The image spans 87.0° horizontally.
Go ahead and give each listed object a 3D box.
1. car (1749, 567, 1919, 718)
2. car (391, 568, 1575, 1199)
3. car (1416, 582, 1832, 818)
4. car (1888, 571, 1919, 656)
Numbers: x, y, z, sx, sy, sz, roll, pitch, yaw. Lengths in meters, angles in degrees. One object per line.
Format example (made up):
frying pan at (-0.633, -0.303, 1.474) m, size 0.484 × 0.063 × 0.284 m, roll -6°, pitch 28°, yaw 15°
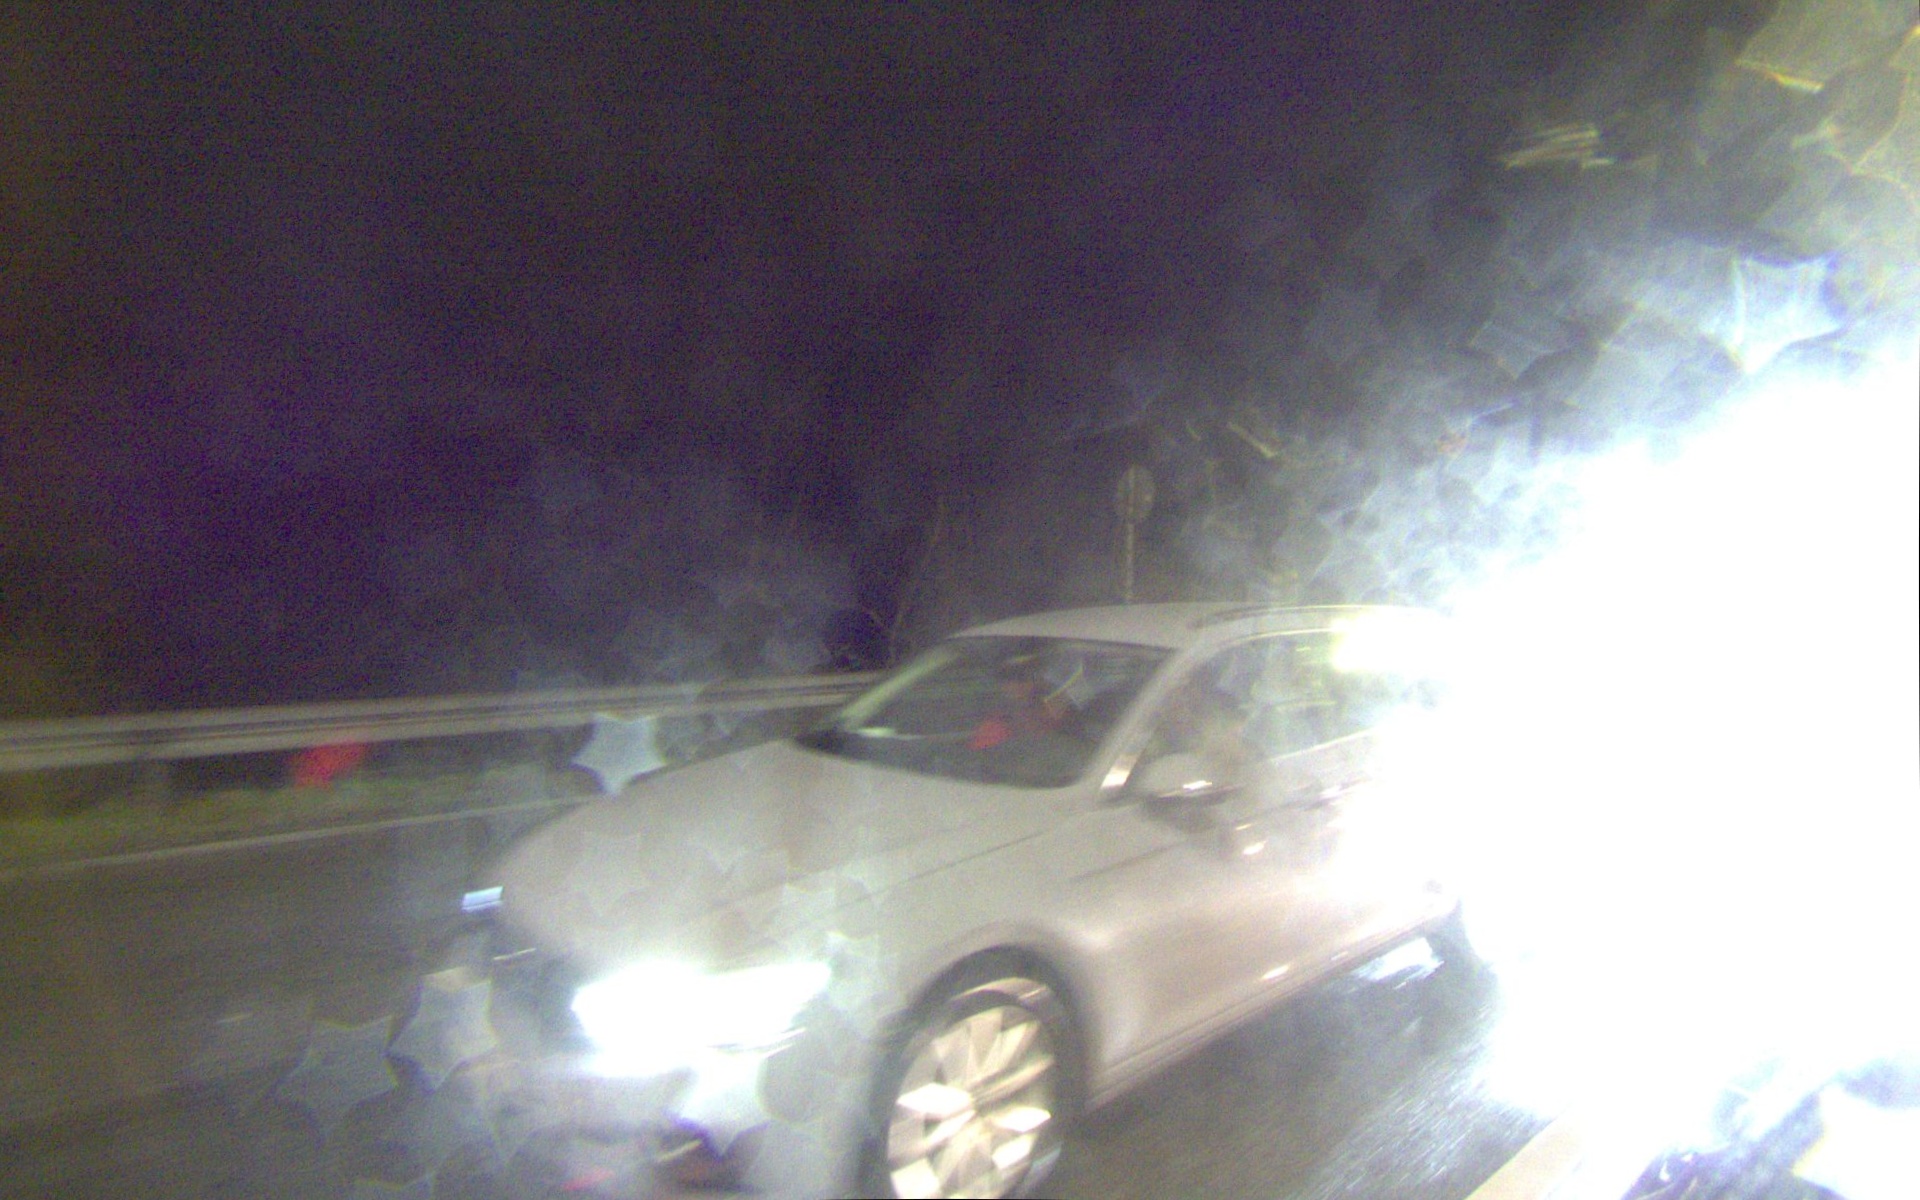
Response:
car at (11.626, 0.402, 12.625) m, size 4.315 × 1.618 × 1.997 m, roll -1°, pitch 2°, yaw -41°
car at (0.517, 0.673, 3.745) m, size 4.336 × 1.540 × 1.710 m, roll -2°, pitch 1°, yaw -40°
car at (5.567, 0.598, 8.292) m, size 4.066 × 1.435 × 1.742 m, roll -2°, pitch 1°, yaw -40°
car at (20.309, 0.238, 20.311) m, size 4.315 × 1.618 × 1.997 m, roll -1°, pitch 2°, yaw -41°
